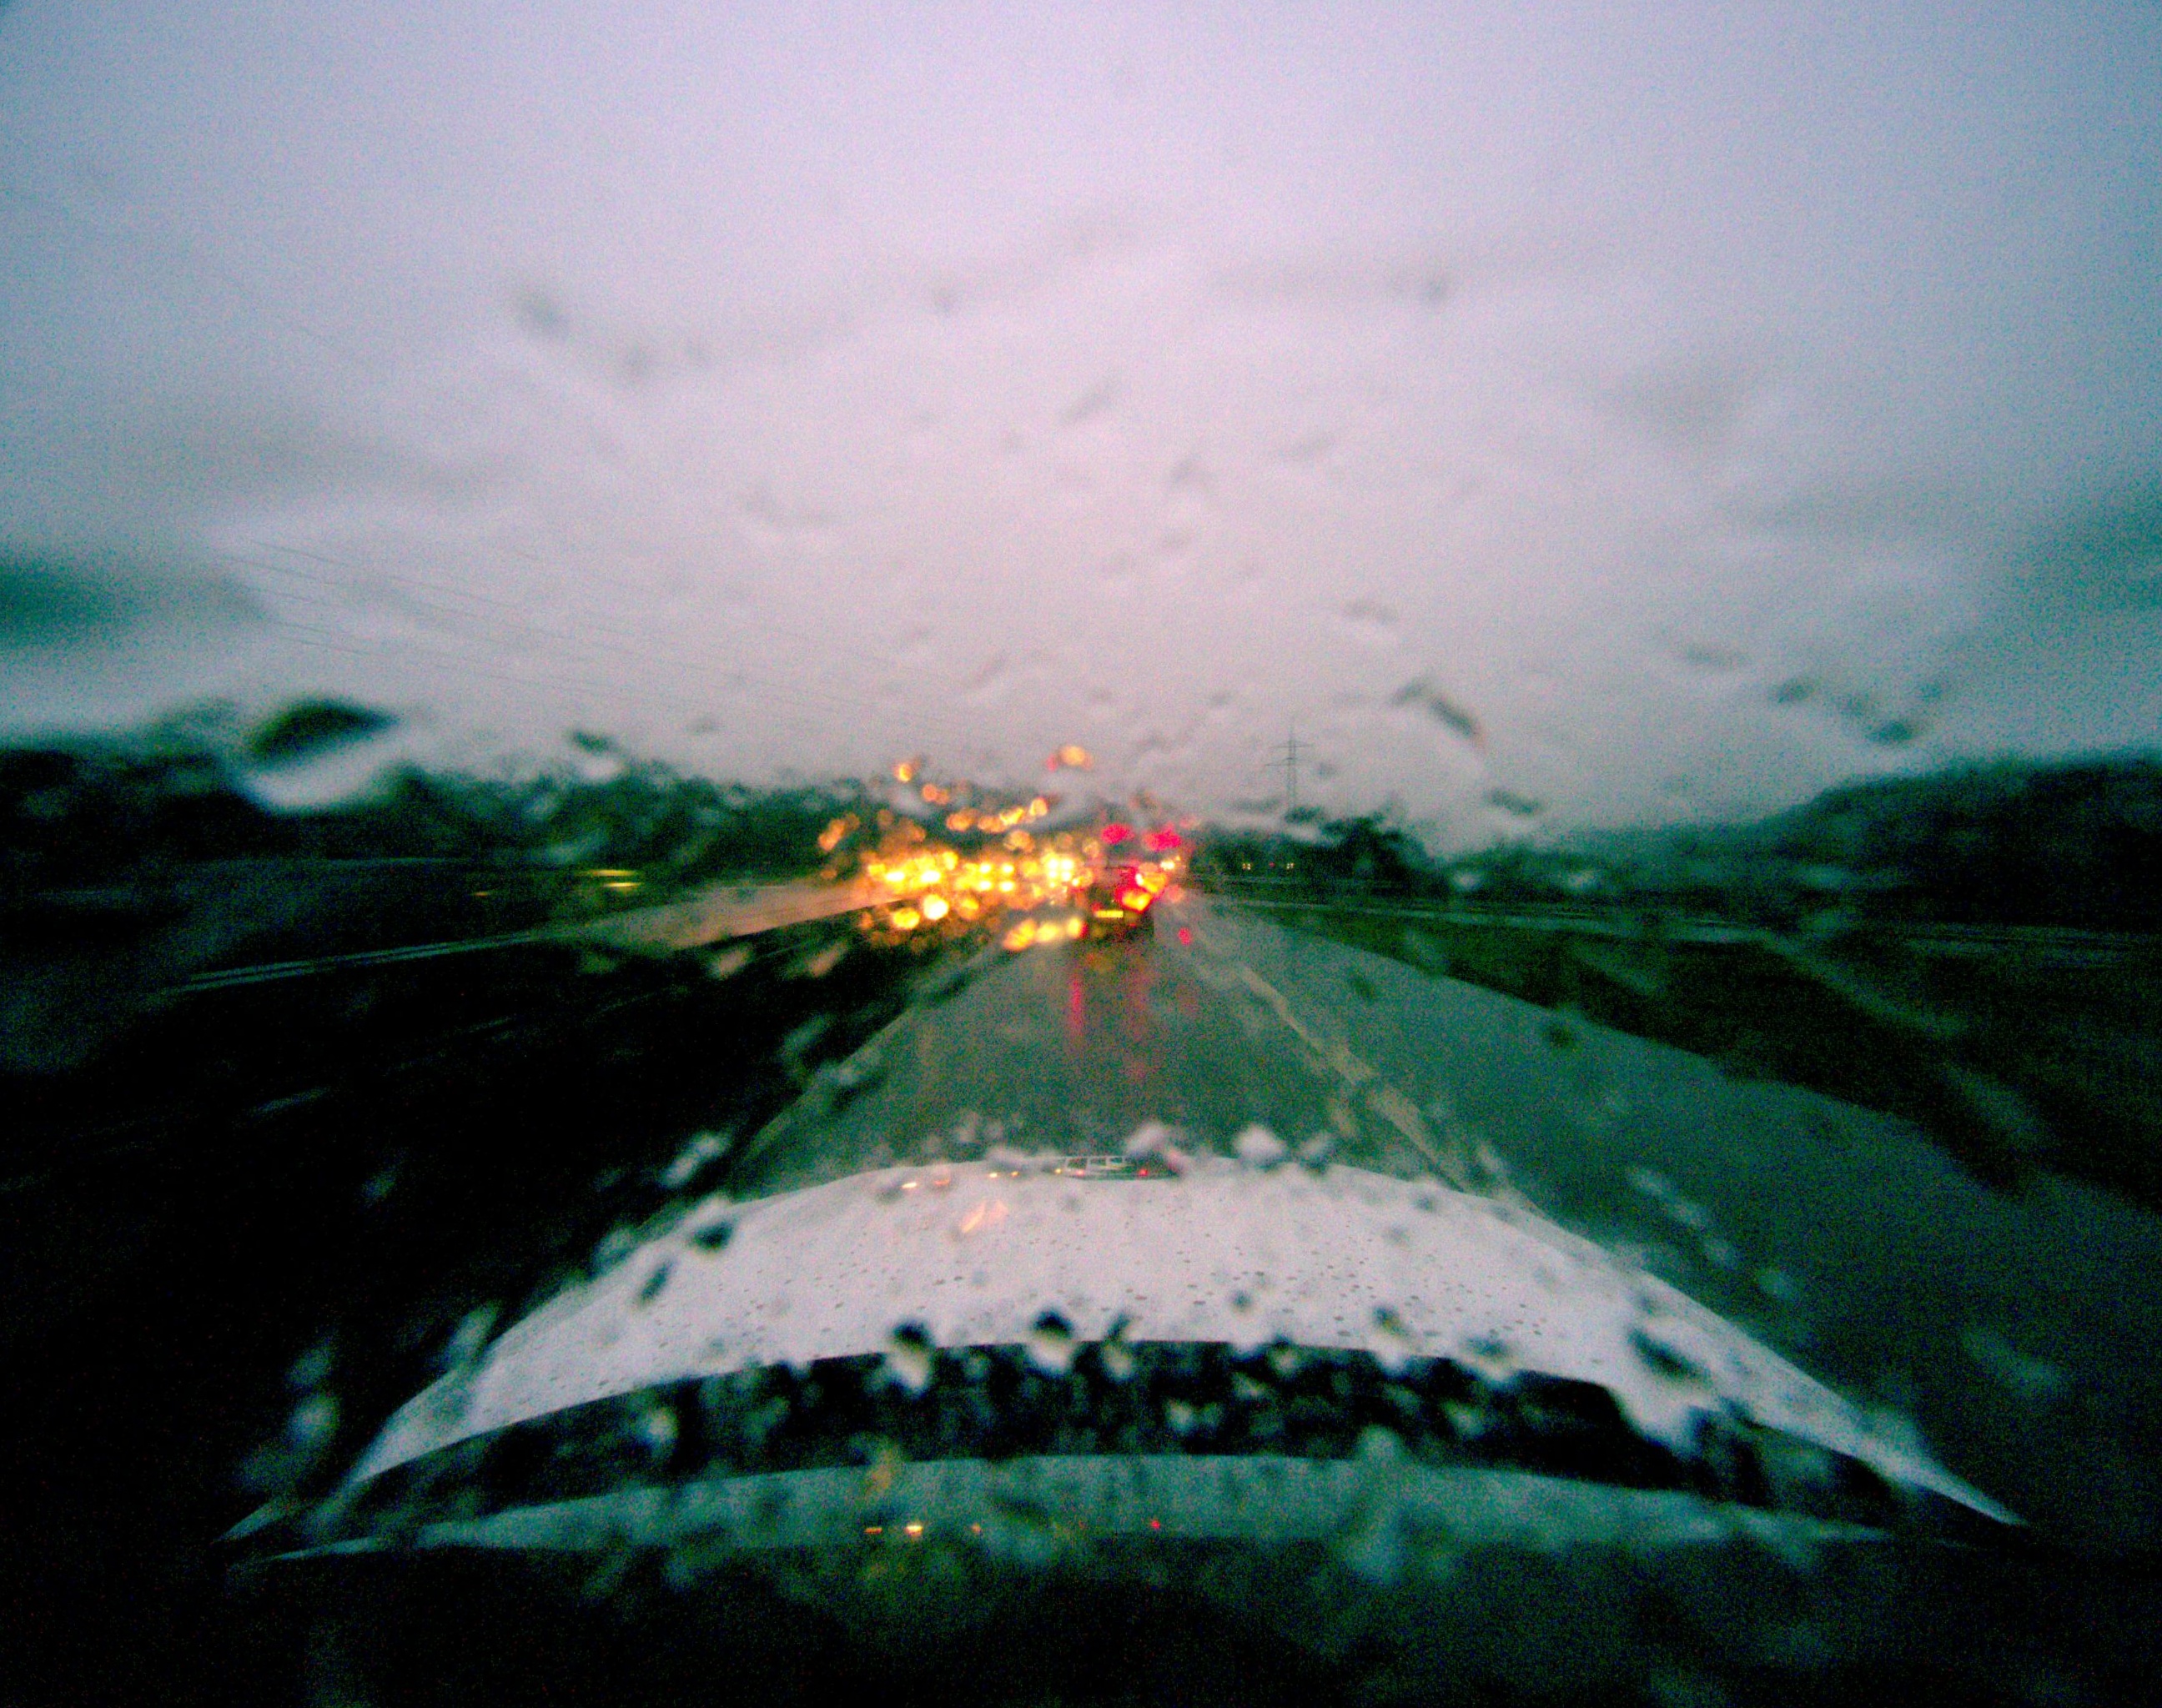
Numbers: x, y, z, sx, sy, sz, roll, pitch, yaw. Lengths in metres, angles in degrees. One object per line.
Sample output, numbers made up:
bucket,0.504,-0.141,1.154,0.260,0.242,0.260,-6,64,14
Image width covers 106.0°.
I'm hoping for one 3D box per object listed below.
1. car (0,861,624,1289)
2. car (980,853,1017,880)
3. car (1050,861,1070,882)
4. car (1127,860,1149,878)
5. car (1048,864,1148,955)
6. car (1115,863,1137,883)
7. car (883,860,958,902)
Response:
car,-6.049,1.118,6.508,1.988,2.013,4.996,3,0,-2
car,-4.927,0.732,49.160,1.640,1.501,4.003,-1,0,3
car,-2.215,1.849,86.563,1.865,2.137,5.180,-1,0,0
car,6.553,1.699,93.714,1.935,1.744,4.010,7,0,9
car,0.395,1.006,16.295,1.723,1.532,4.045,-1,-1,3
car,4.224,1.770,76.028,1.937,1.745,4.005,2,-1,5
car,-6.106,0.989,31.534,1.987,1.472,4.472,-1,0,0
